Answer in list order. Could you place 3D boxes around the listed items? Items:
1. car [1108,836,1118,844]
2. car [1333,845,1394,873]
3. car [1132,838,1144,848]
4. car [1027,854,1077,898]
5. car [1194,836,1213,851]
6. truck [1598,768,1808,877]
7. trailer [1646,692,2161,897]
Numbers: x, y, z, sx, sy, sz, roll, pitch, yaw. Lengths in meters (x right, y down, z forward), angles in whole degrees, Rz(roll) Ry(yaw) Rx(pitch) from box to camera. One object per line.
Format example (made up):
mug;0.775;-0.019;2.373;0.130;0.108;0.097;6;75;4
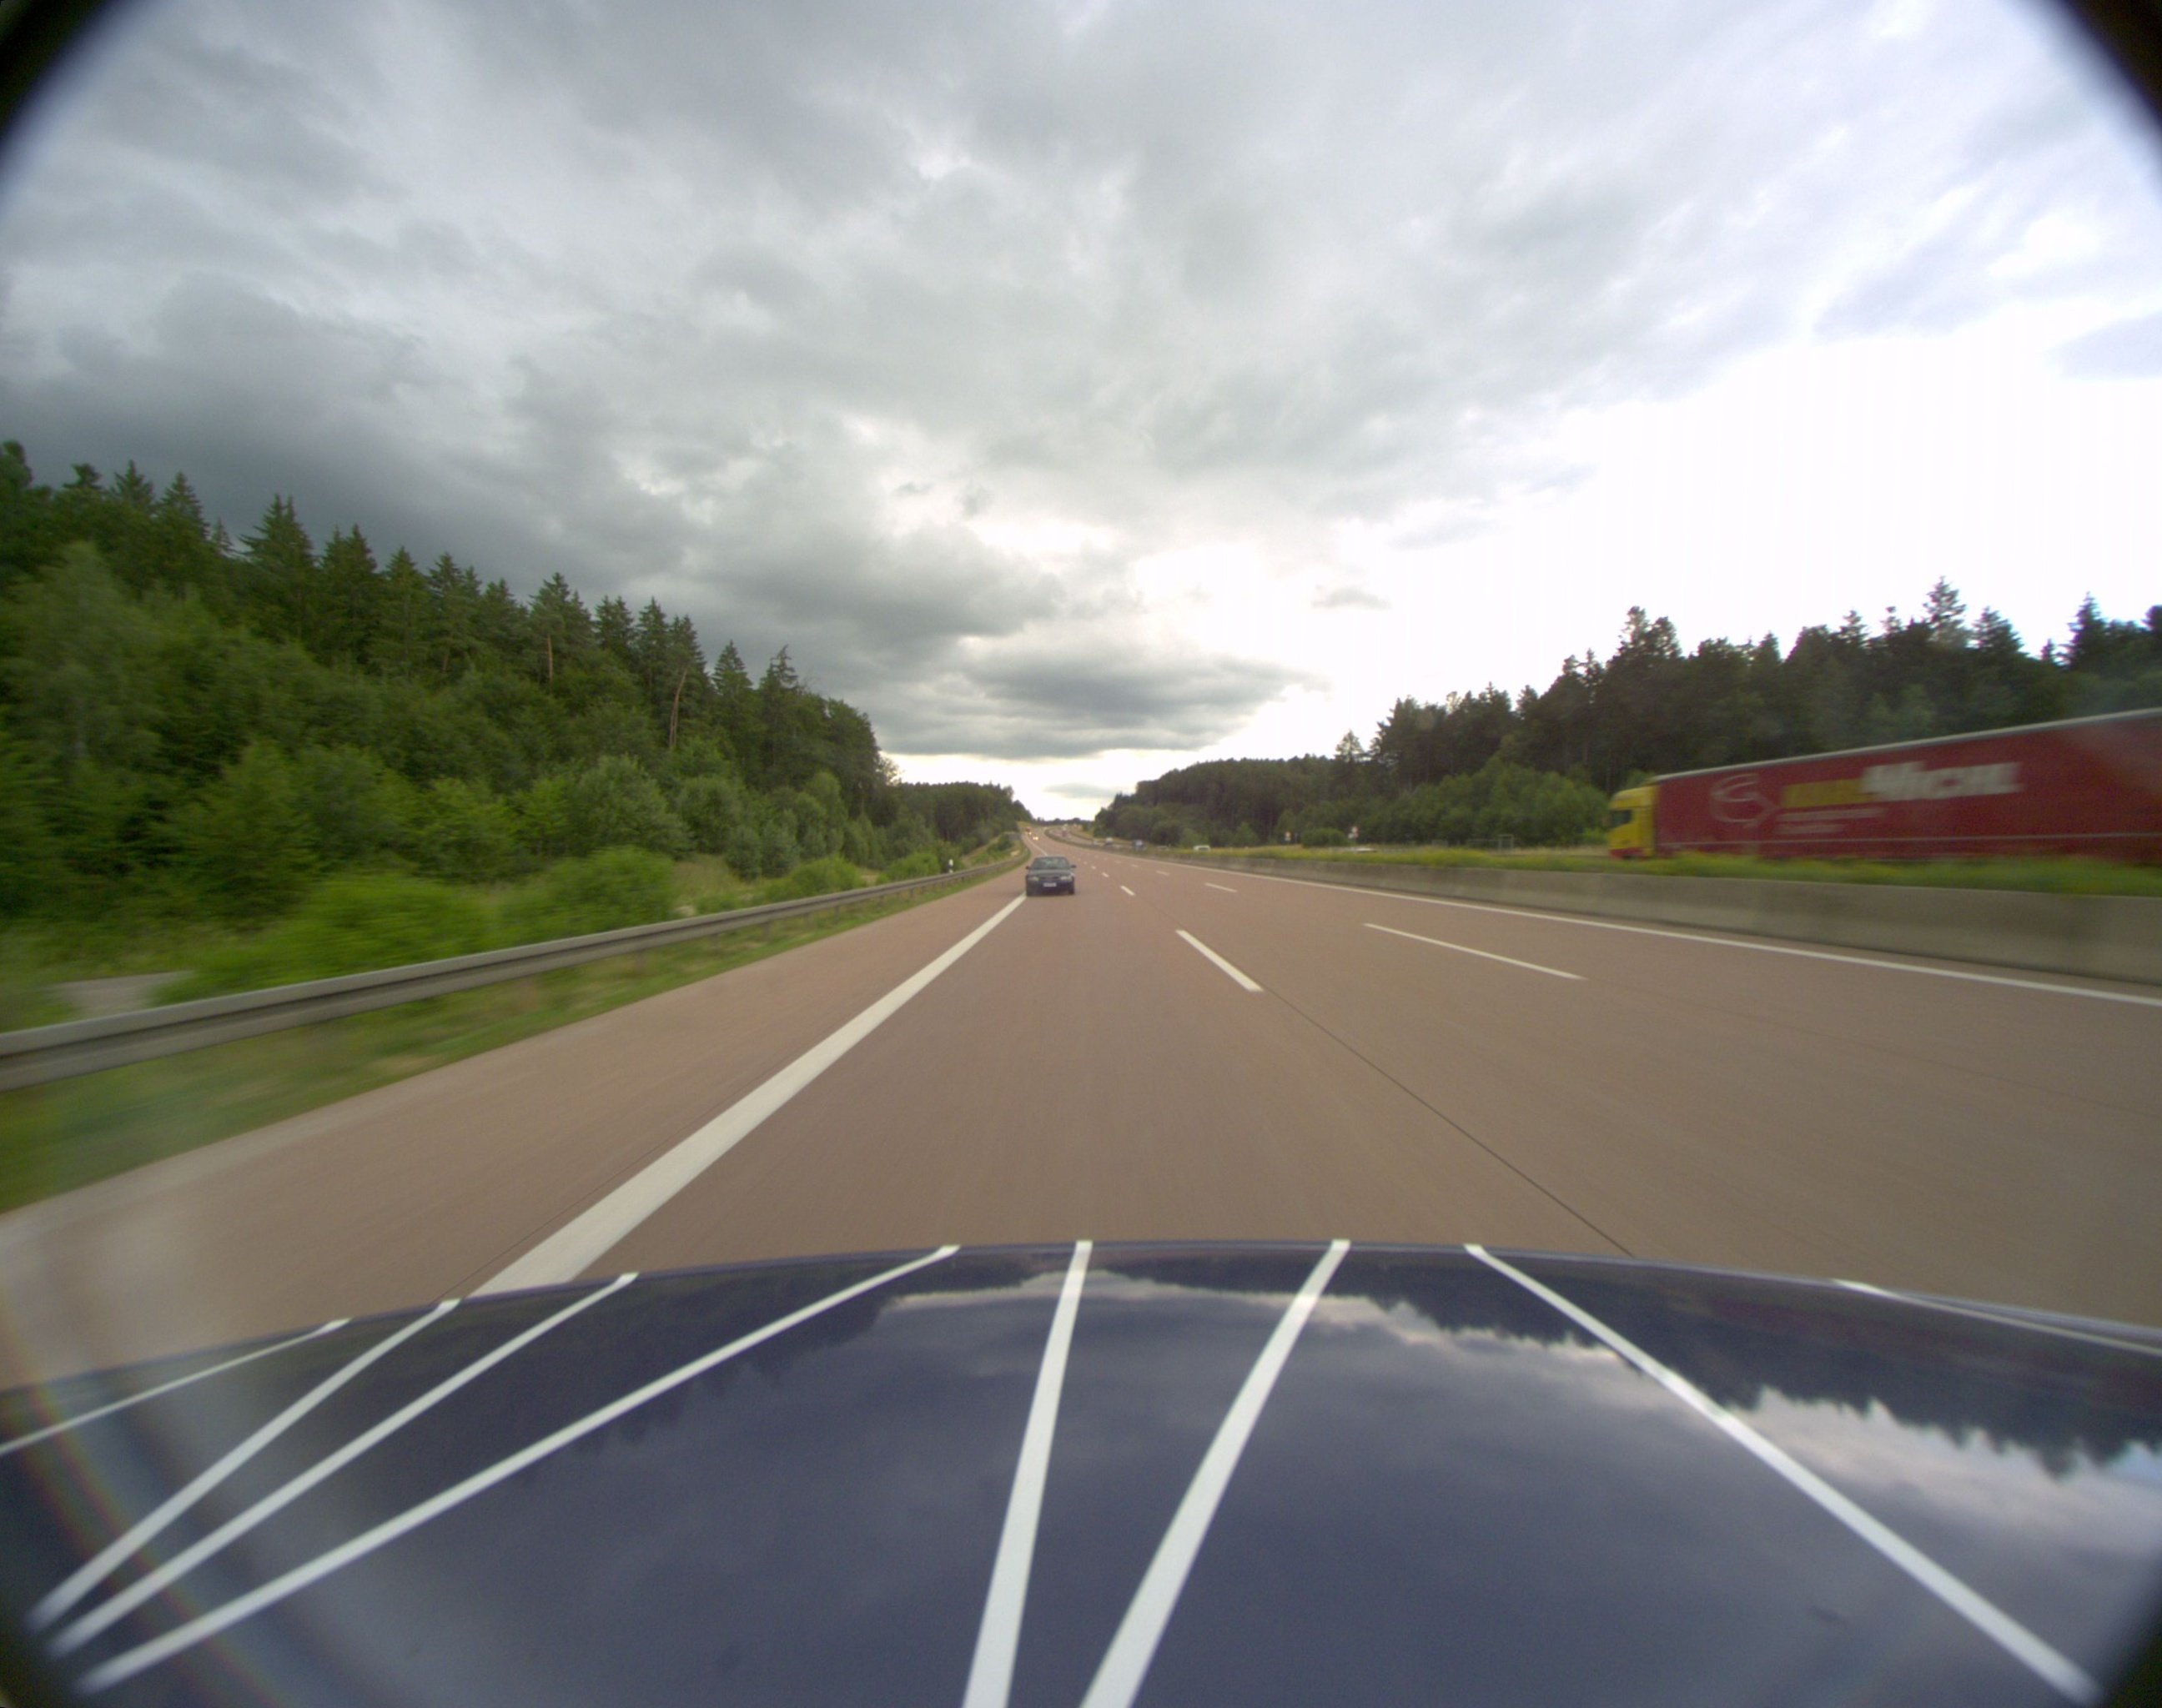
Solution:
car;11.030;-4.836;262.129;2.466;2.595;7.324;-2;2;-4
car;15.120;0.247;40.861;1.745;1.395;4.030;-1;1;0
car;13.116;-2.427;174.943;1.999;2.229;6.038;-2;1;-3
car;-1.090;0.740;28.130;1.676;1.395;4.231;-1;1;-3
car;14.317;-1.226;88.577;1.571;1.558;3.410;-2;2;-1
truck;23.071;-1.077;28.686;3.019;3.561;6.057;-2;1;2
trailer;22.892;-1.254;21.634;3.040;4.018;14.531;-2;0;1
